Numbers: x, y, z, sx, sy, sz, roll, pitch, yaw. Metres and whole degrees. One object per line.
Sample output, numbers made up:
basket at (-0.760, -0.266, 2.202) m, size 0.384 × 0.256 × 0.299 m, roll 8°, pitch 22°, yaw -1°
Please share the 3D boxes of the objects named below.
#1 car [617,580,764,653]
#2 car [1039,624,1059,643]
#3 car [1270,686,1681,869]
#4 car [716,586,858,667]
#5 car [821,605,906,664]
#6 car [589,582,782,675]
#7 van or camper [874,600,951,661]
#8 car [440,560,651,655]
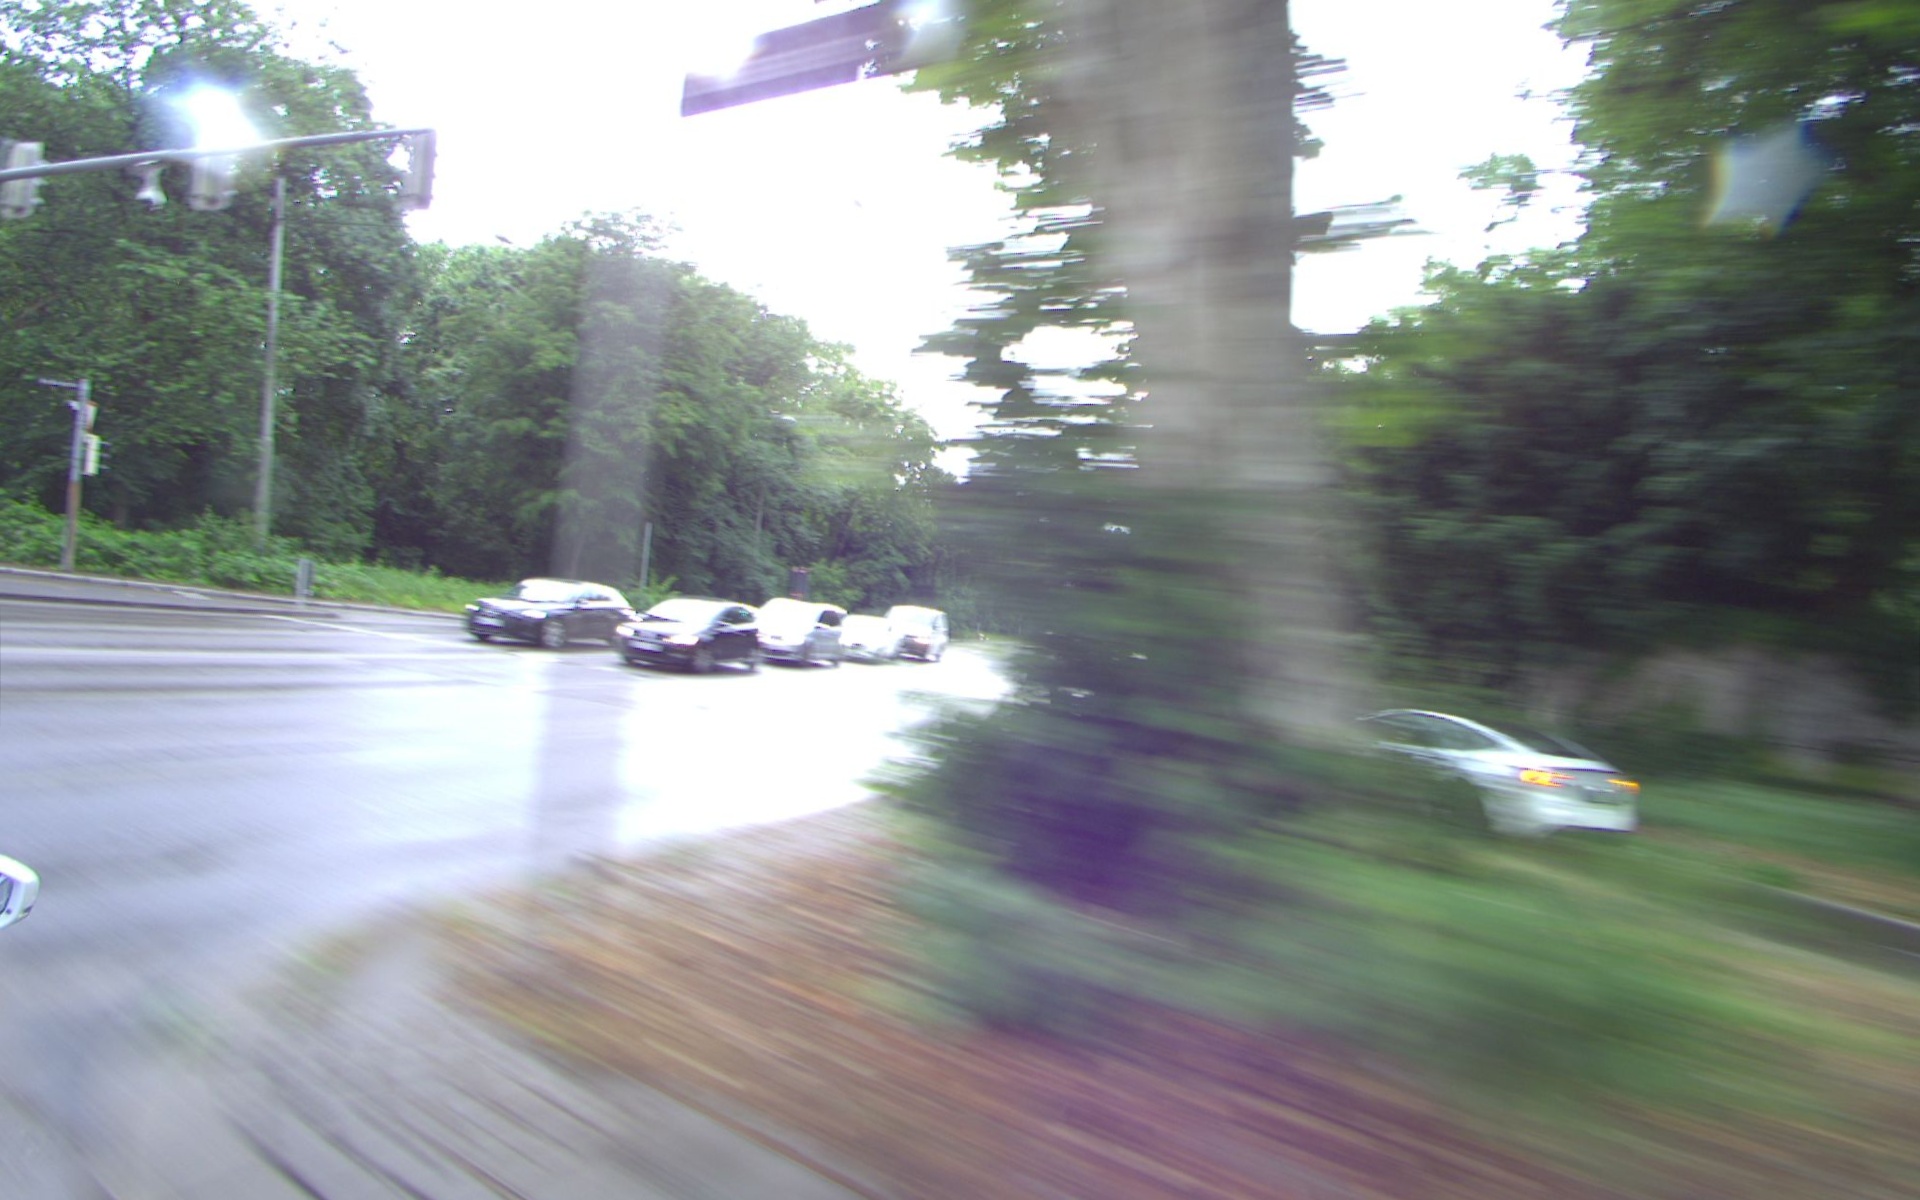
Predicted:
car at (-7.273, 0.520, 27.677) m, size 1.795 × 1.417 × 4.455 m, roll 7°, pitch -3°, yaw 15°
car at (11.611, 4.423, 131.208) m, size 1.849 × 1.996 × 3.893 m, roll 8°, pitch -3°, yaw 12°
car at (6.350, 2.151, 13.111) m, size 1.833 × 1.465 × 4.597 m, roll 7°, pitch -2°, yaw -22°
car at (-4.361, 0.754, 26.082) m, size 1.871 × 1.699 × 4.215 m, roll 7°, pitch -2°, yaw 15°
car at (-3.045, 1.166, 32.450) m, size 1.627 × 1.477 × 3.872 m, roll 8°, pitch -3°, yaw 9°
car at (-5.364, 0.622, 20.279) m, size 1.759 × 1.477 × 4.204 m, roll 7°, pitch -1°, yaw 15°
van or camper at (-1.747, 1.232, 38.674) m, size 1.871 × 1.969 × 4.871 m, roll 8°, pitch -2°, yaw 8°
car at (-8.760, 0.246, 21.700) m, size 1.913 × 1.456 × 4.221 m, roll 7°, pitch -3°, yaw 15°
